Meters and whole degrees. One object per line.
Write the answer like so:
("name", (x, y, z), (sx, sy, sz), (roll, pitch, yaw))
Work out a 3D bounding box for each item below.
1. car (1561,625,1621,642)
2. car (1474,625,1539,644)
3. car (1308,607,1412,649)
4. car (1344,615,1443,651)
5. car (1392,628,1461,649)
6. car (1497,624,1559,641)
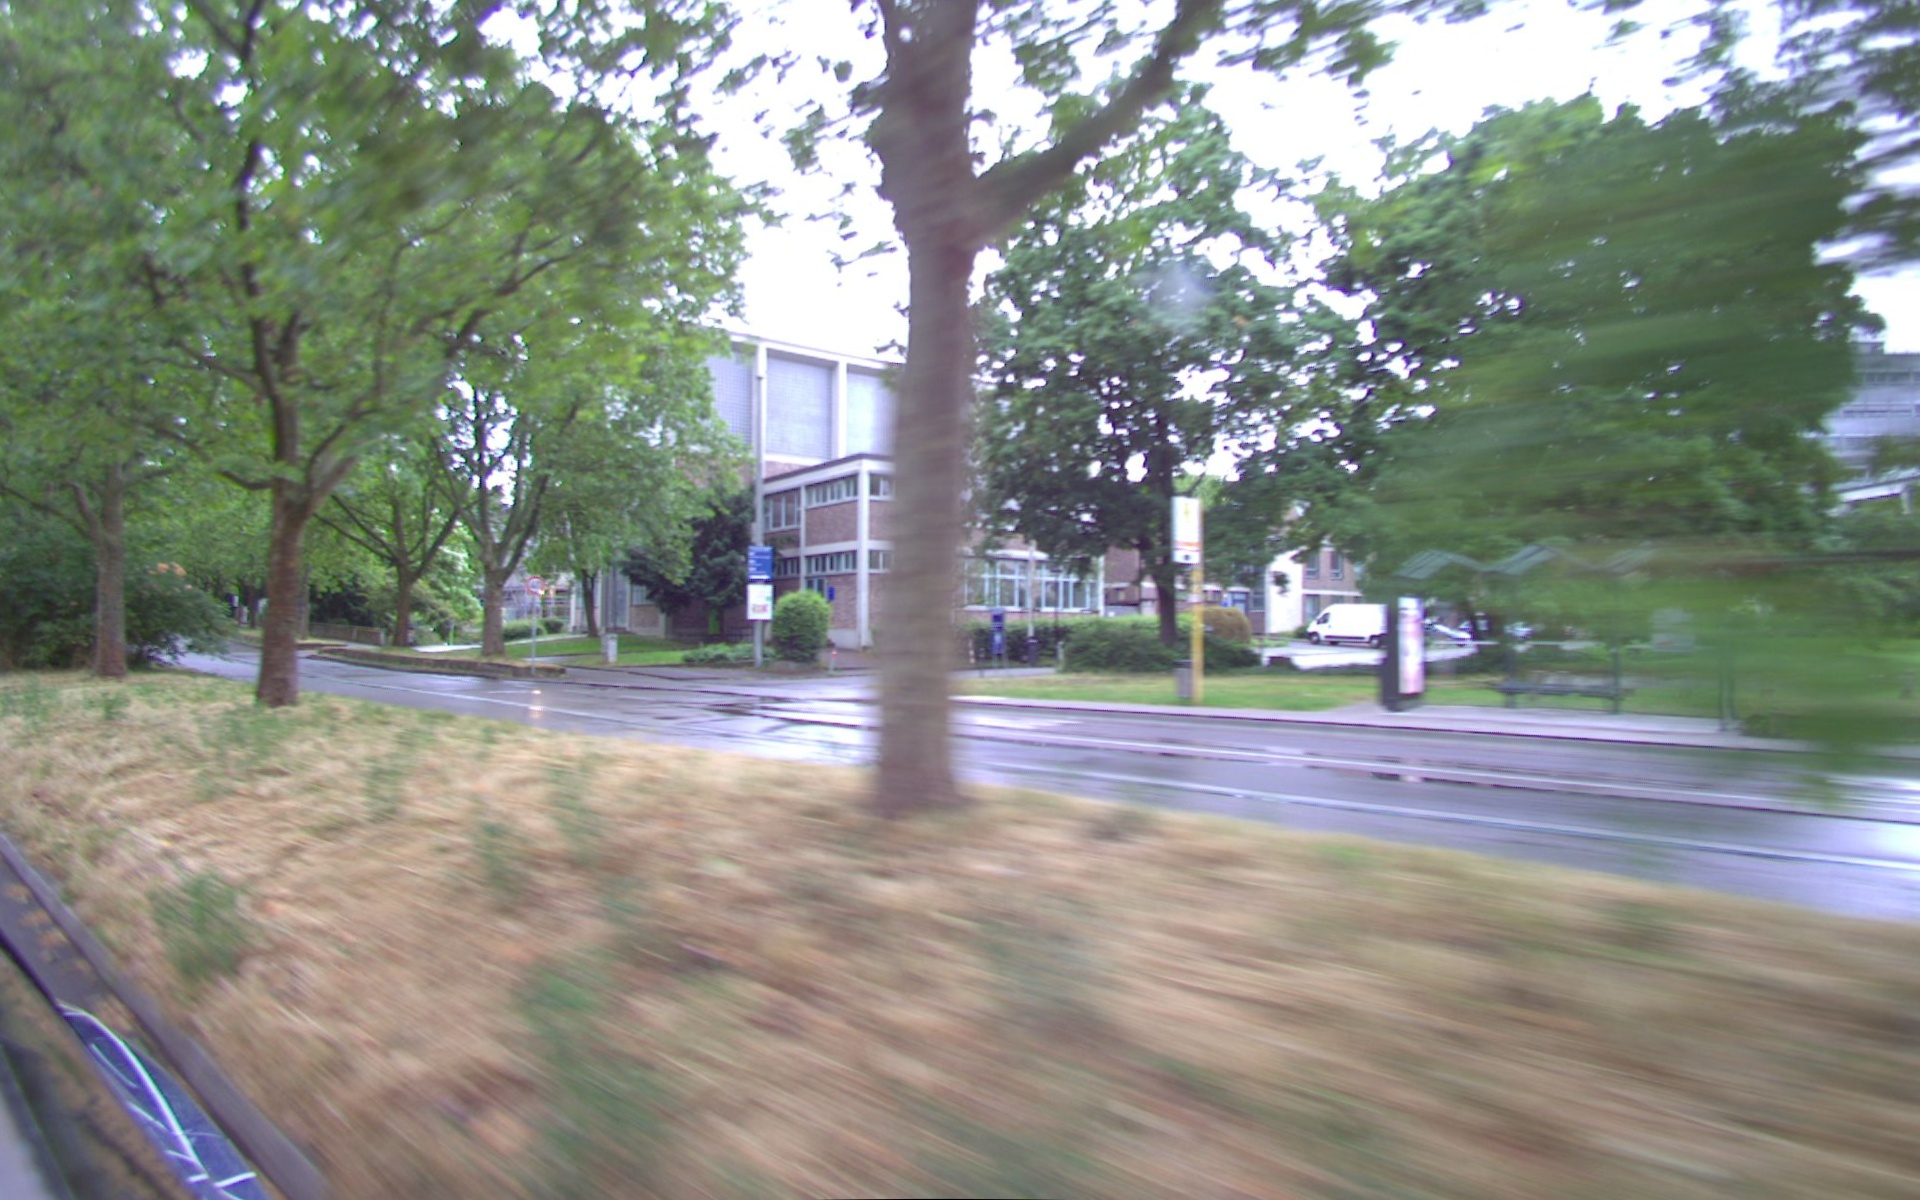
("car", (48.616, 2.563, 78.027), (1.566, 1.151, 3.564), (0, 0, -36))
("car", (37.127, 2.307, 68.784), (1.566, 1.151, 3.564), (0, 0, -36))
("car", (23.279, 1.570, 59.084), (2.080, 2.229, 5.483), (0, 0, -33))
("car", (26.311, 1.959, 61.585), (2.250, 2.037, 5.091), (0, 0, -36))
("car", (29.021, 2.385, 62.991), (1.662, 1.151, 3.564), (0, 0, -36))
("car", (40.331, 2.284, 71.902), (1.566, 1.151, 3.564), (0, 0, -36))
